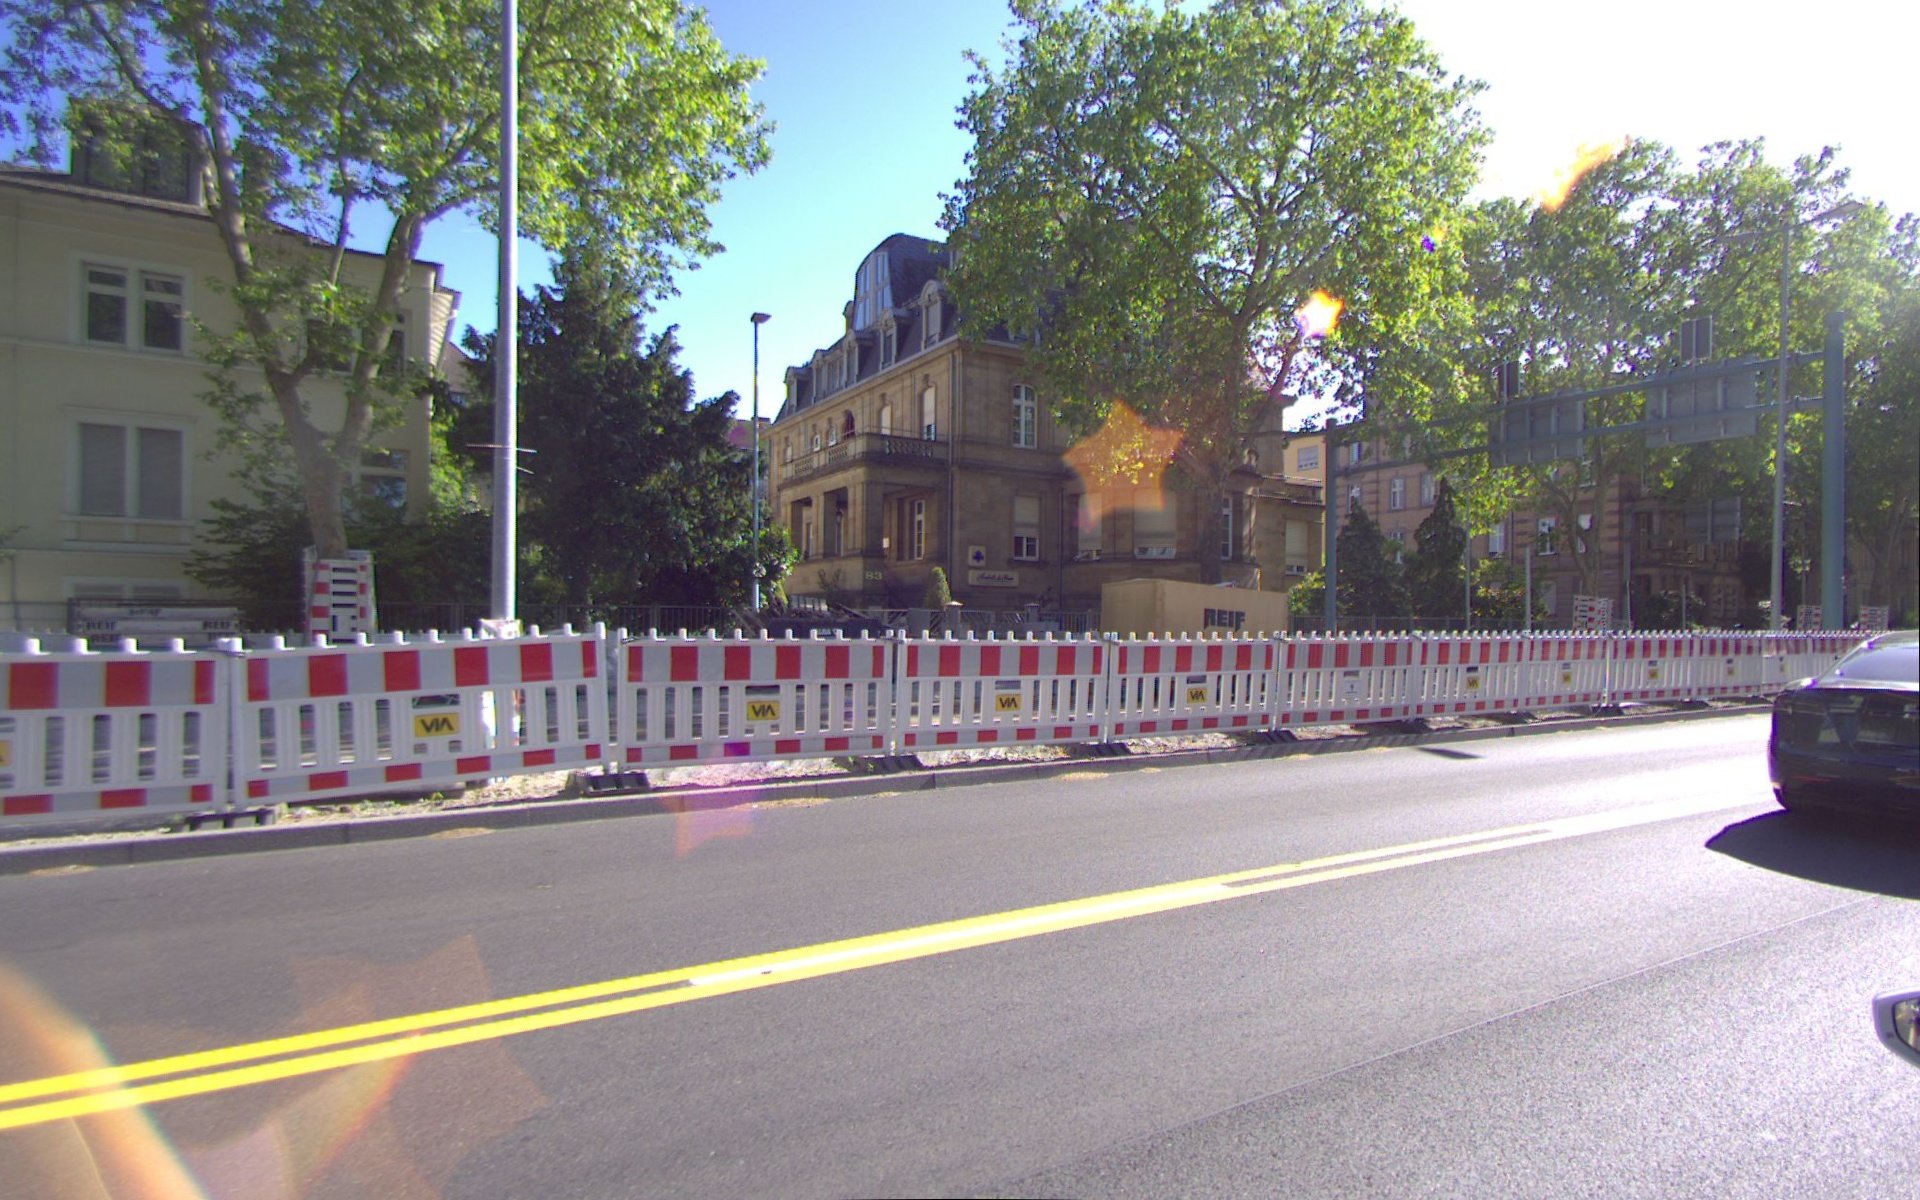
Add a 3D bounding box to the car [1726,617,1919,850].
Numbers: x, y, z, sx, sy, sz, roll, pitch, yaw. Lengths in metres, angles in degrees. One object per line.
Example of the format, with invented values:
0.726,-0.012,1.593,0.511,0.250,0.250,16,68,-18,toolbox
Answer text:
8.006,0.890,7.608,4.572,1.431,1.915,1,2,-31,car
